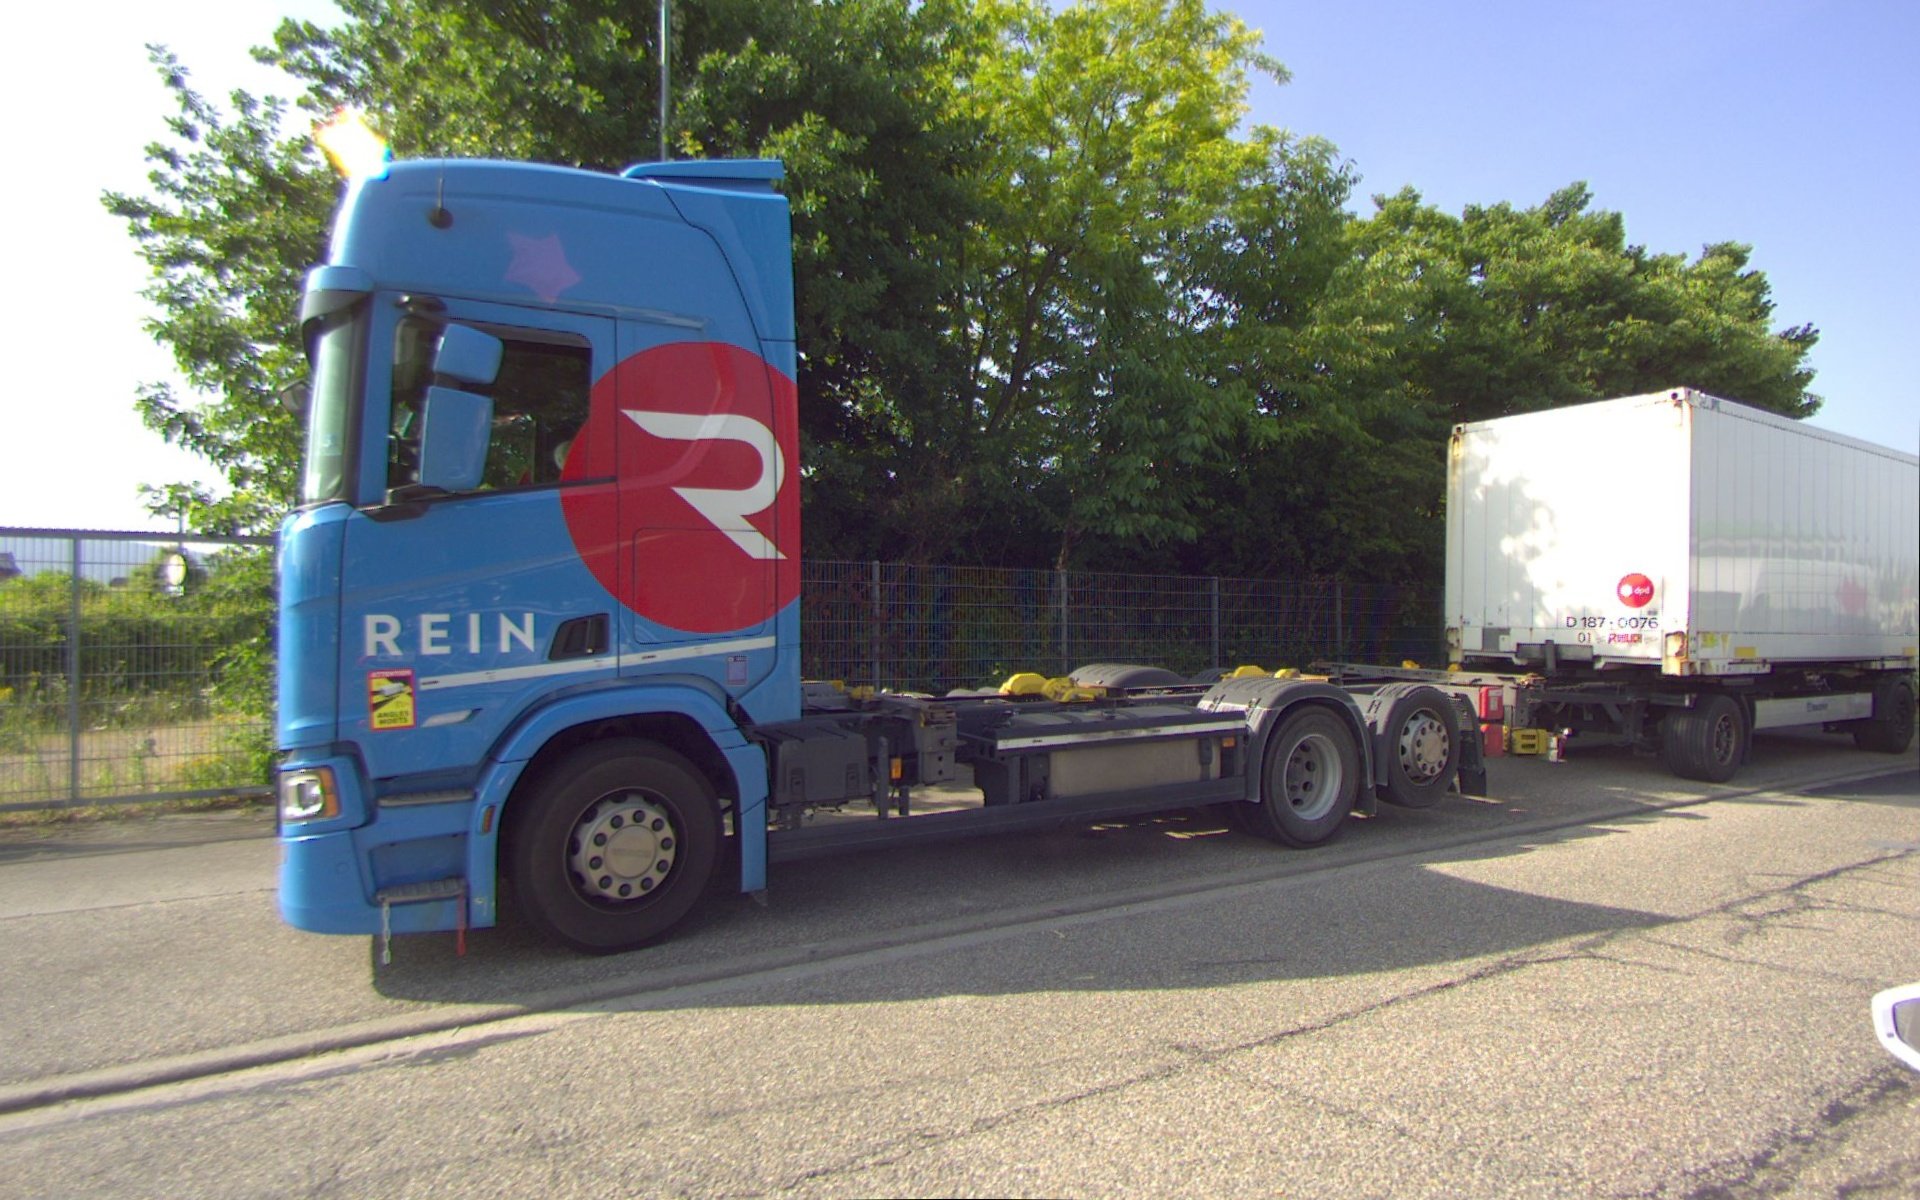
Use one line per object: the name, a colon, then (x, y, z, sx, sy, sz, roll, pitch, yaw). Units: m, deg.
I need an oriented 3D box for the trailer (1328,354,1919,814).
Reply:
trailer: (8.804, -0.040, 12.267, 9.654, 3.936, 2.686, 1, -1, -31)

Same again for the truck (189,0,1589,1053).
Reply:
truck: (0.610, -0.210, 7.317, 9.524, 3.936, 2.700, 1, -1, -31)

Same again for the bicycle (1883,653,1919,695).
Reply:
bicycle: (24.364, 1.864, 25.611, 2.425, 0.986, 0.559, 1, -3, -32)

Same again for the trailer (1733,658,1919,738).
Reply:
trailer: (15.545, 1.505, 16.409, 6.173, 0.998, 2.635, 1, -3, -32)
